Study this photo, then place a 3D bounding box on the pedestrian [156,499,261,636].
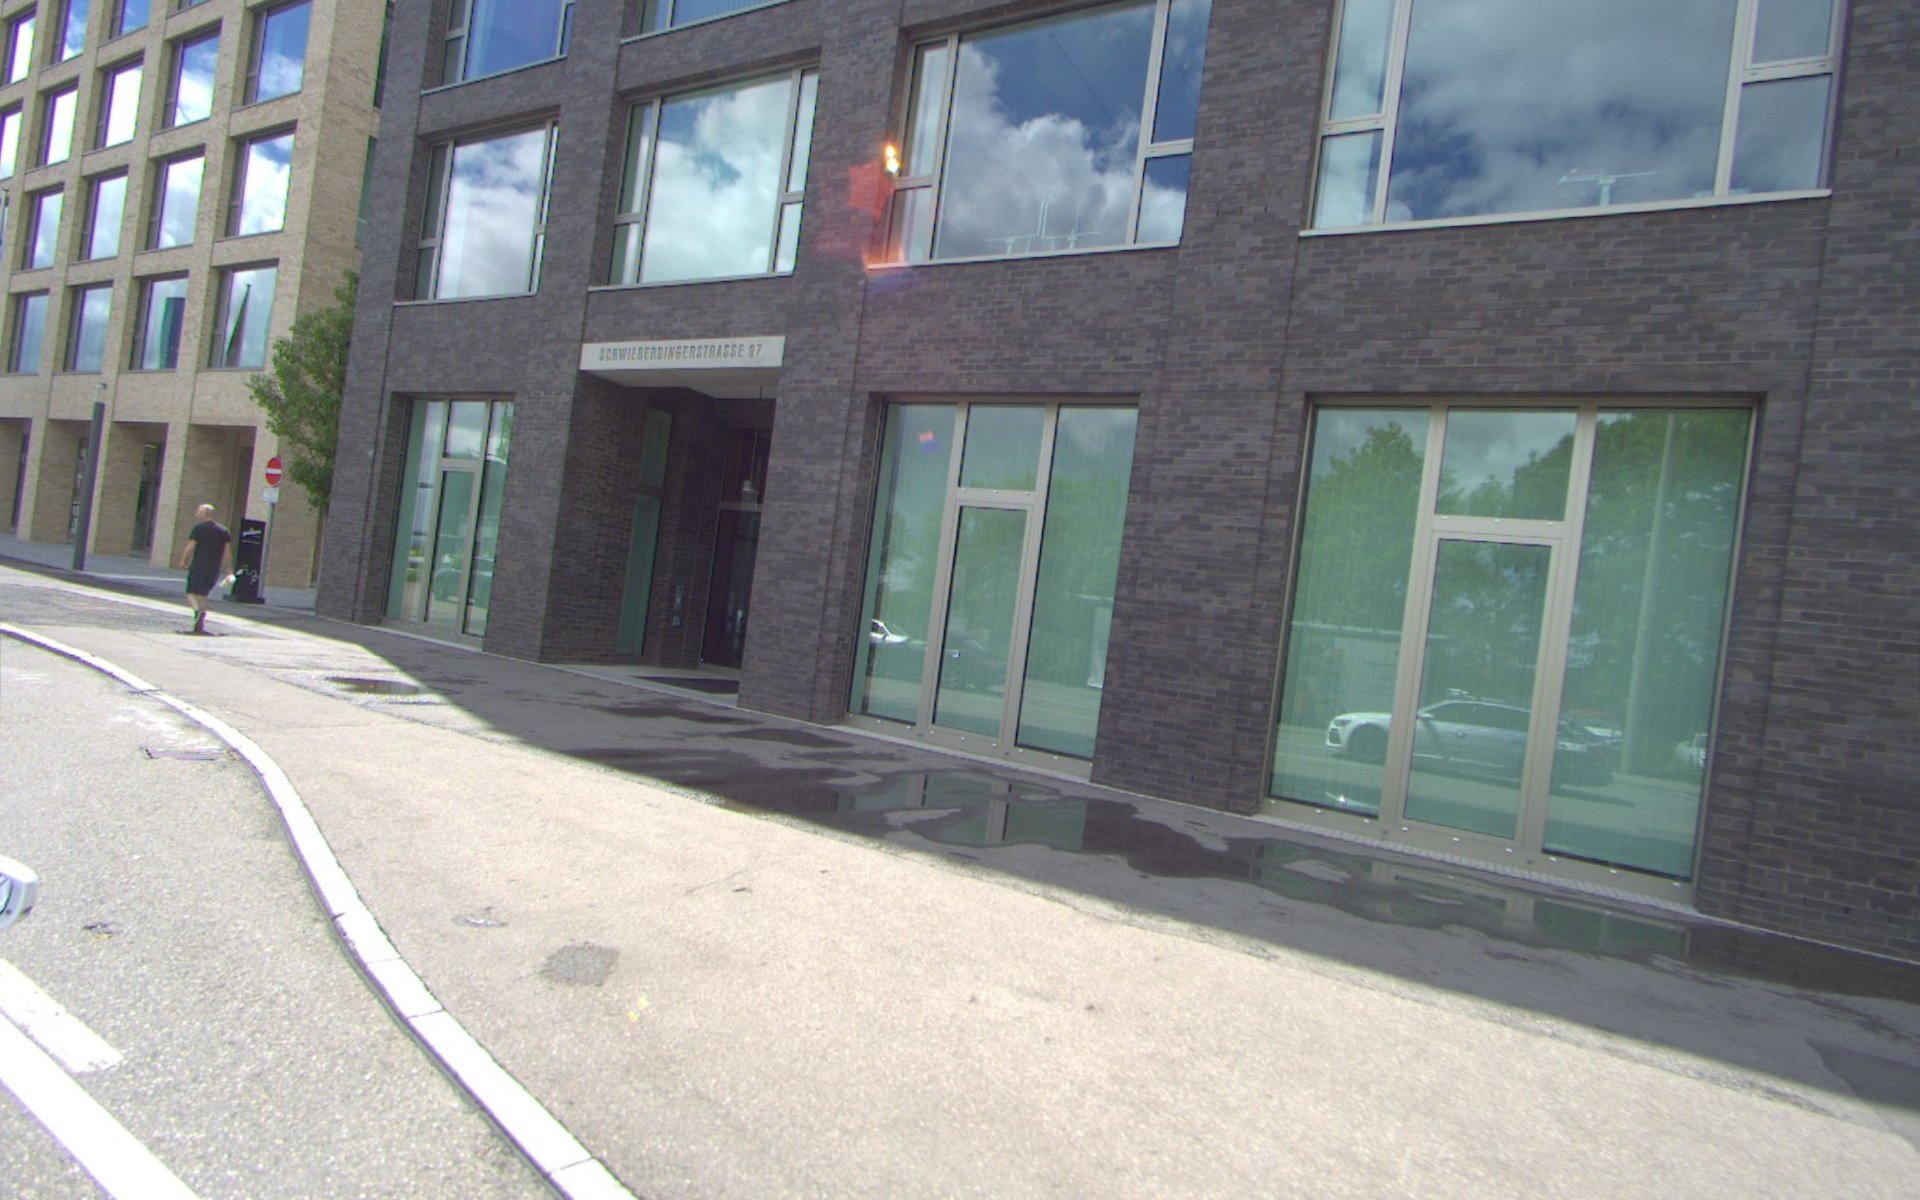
[{"bbox_3d":[-10.418,-0.454,13.945,0.946,1.748,0.684,7,-1,31],"label":"pedestrian"}]
